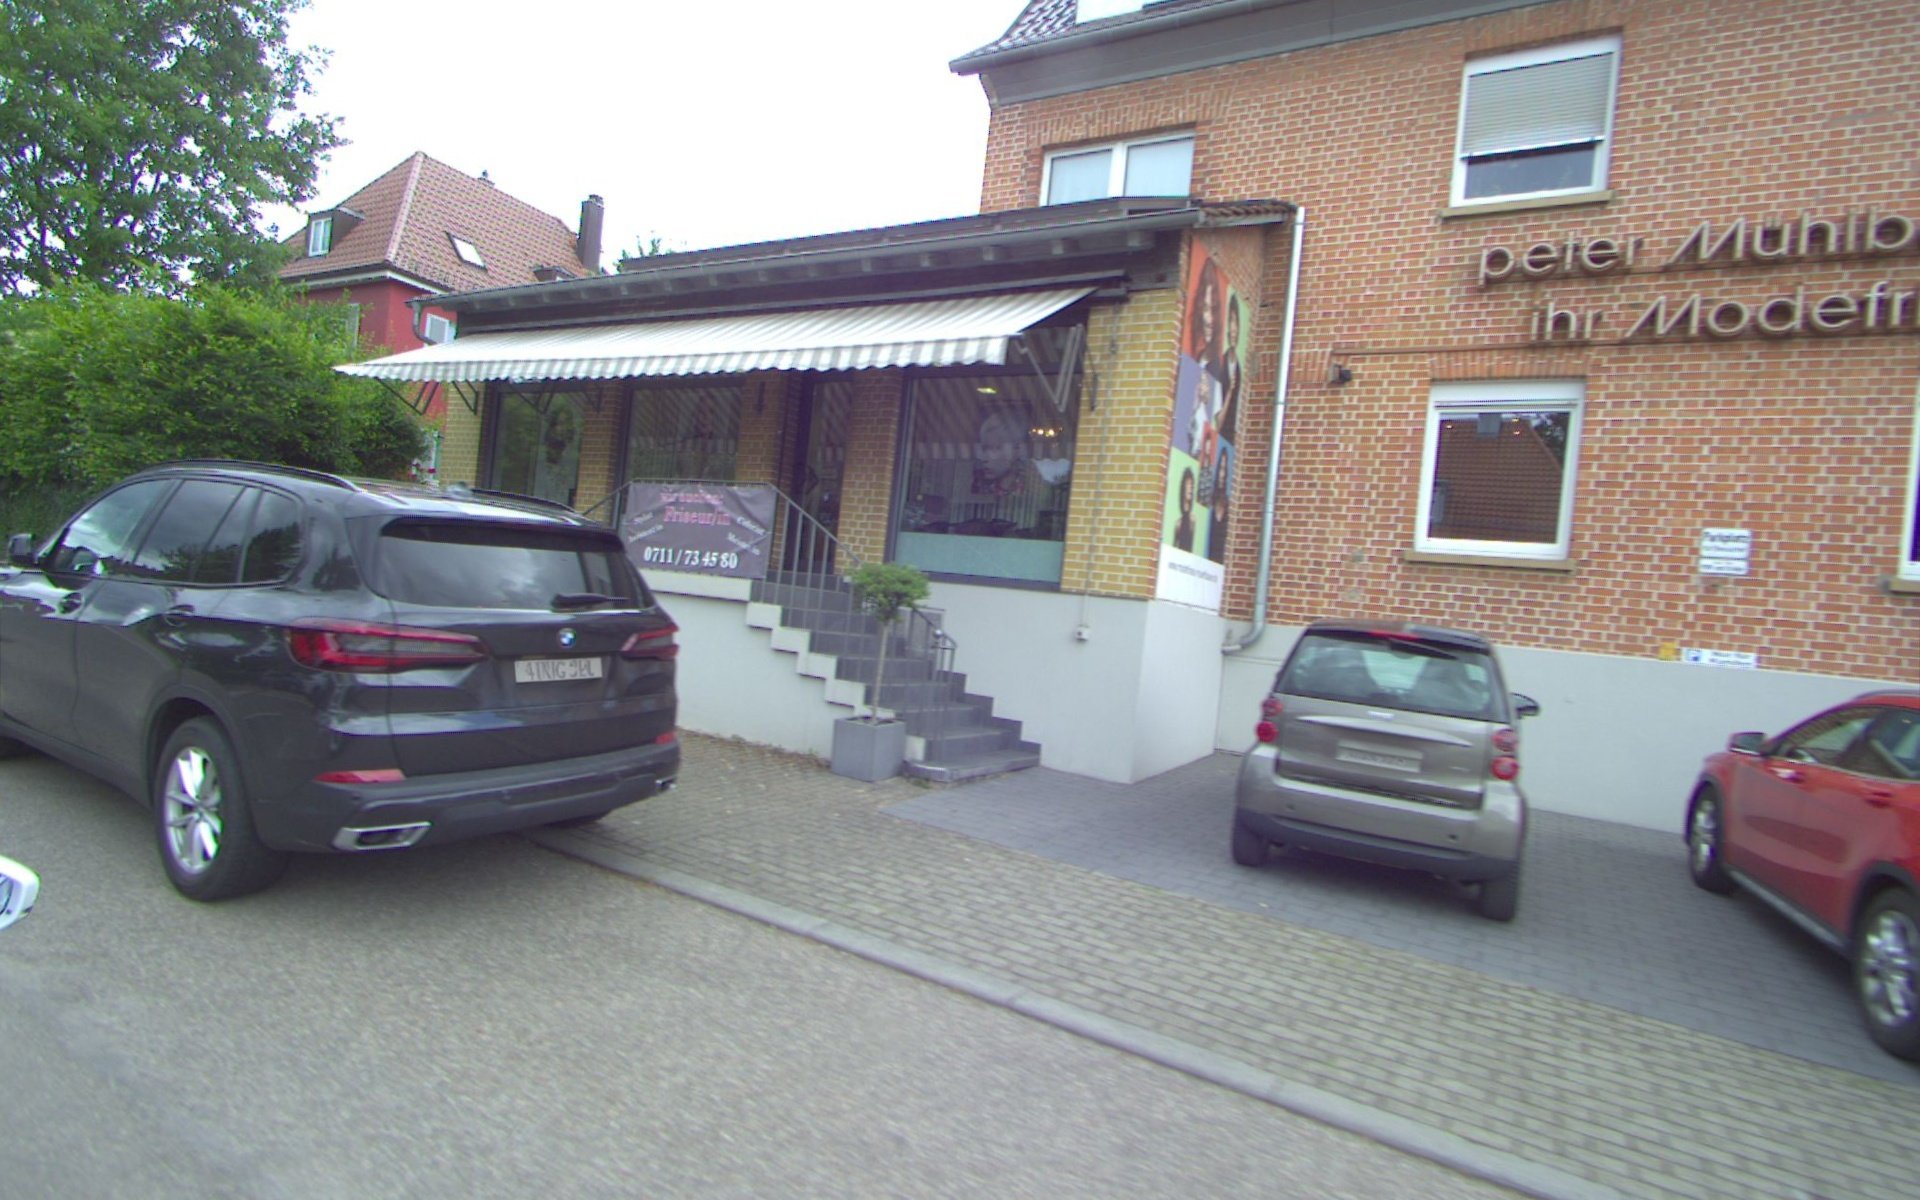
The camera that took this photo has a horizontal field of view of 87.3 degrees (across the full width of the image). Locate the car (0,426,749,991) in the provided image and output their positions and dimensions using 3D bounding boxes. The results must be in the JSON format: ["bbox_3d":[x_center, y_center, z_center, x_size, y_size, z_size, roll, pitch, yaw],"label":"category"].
[{"bbox_3d":[-3.658,0.192,5.438,4.833,1.860,1.899,7,1,32],"label":"car"}]

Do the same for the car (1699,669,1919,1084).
[{"bbox_3d":[5.061,1.244,4.697,1.718,1.478,3.358,7,2,23],"label":"car"}]

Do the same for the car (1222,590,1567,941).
[{"bbox_3d":[3.030,0.875,6.990,1.552,1.655,3.356,7,2,26],"label":"car"}]
